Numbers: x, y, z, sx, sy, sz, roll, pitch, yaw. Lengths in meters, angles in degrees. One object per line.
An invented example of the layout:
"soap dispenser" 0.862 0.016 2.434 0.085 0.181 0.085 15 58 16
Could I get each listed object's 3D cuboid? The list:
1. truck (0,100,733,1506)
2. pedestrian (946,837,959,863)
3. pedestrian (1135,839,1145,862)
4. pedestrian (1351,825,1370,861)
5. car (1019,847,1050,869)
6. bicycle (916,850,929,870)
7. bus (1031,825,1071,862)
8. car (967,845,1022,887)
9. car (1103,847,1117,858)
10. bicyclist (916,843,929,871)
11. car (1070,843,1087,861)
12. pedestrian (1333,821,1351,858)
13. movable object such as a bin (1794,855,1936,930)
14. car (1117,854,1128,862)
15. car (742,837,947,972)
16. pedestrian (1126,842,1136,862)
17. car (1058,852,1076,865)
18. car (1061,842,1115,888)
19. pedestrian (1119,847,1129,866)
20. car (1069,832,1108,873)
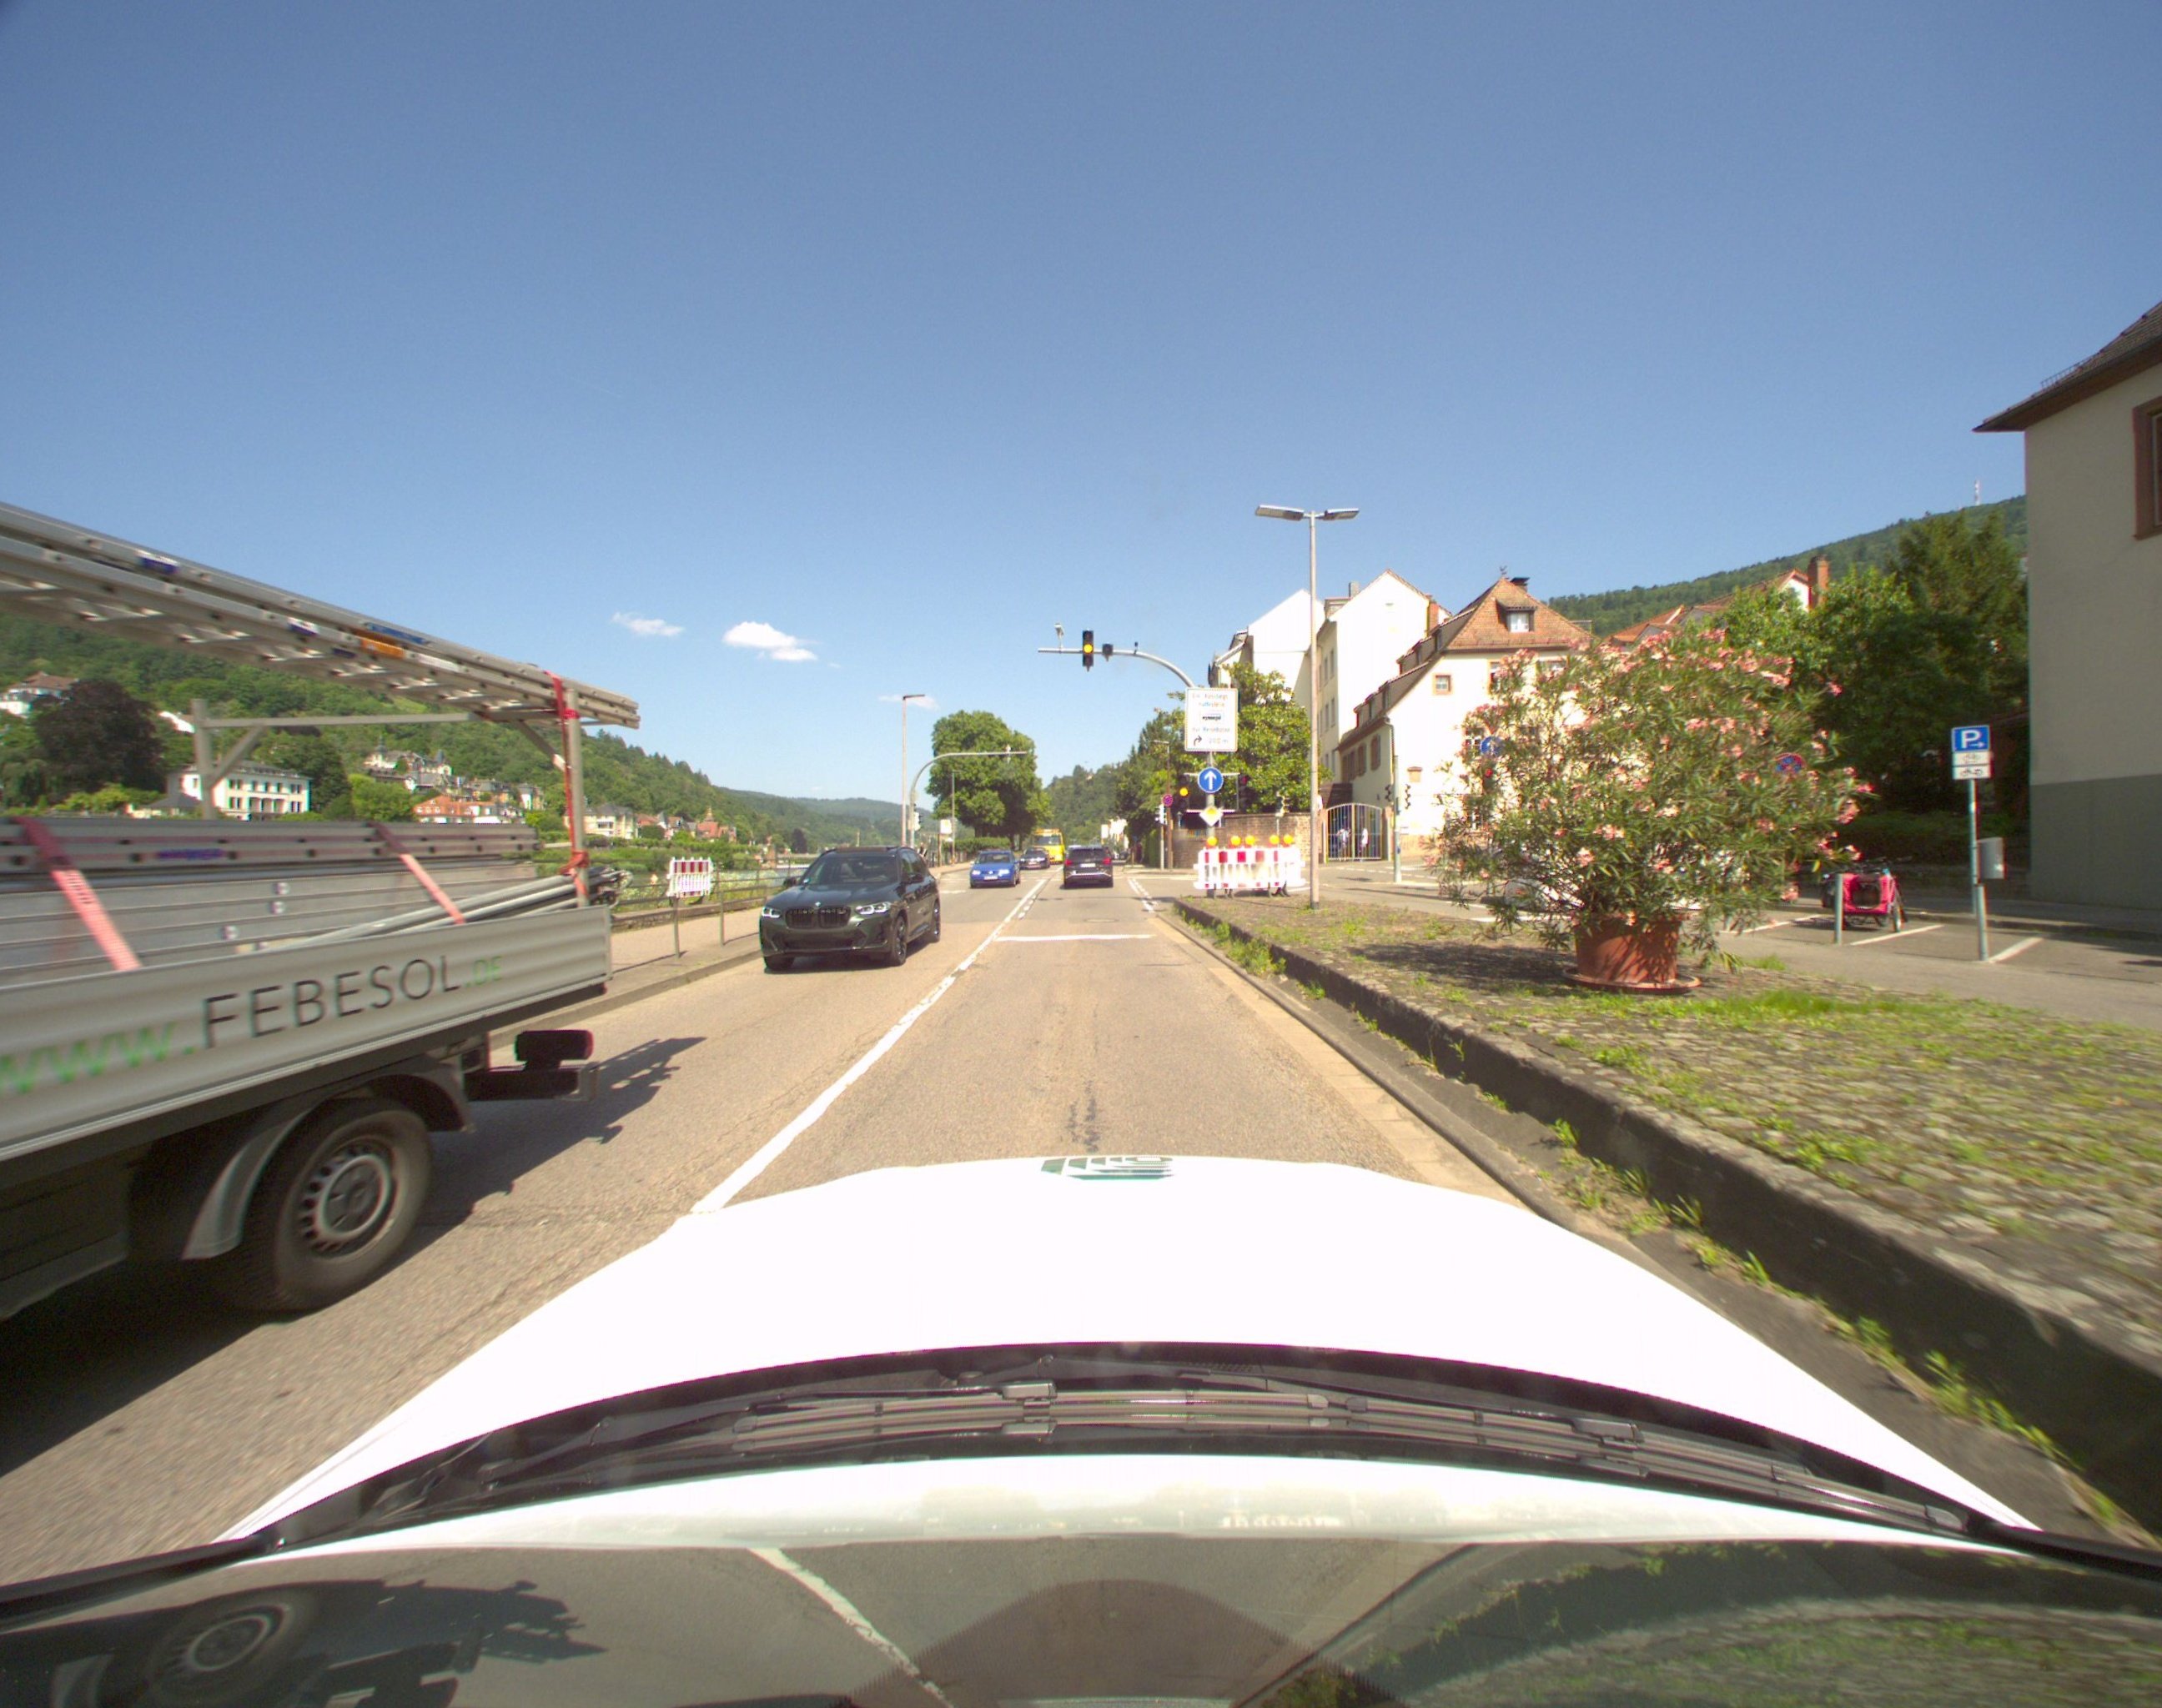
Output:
"truck" -3.681 -0.108 1.708 2.368 3.261 7.612 -3 0 1
"pedestrian" -9.879 -0.309 62.708 0.750 1.918 1.010 -1 -2 2
"pedestrian" 4.481 -0.248 61.624 0.678 1.742 0.913 0 0 2
"pedestrian" 13.474 -0.539 39.204 0.699 1.706 0.730 -2 0 29
"car" -3.082 0.254 54.950 1.803 1.406 4.356 -1 1 0
"bicycle" -9.410 0.355 48.391 0.666 1.113 2.028 -2 0 -8
"bus" -2.463 -0.895 68.948 2.586 2.896 8.454 -1 1 3
"car" -3.393 0.441 32.566 1.724 1.491 4.324 -2 0 0
"car" 4.047 -0.202 112.190 1.787 1.482 4.004 0 0 3
"bicyclist" -9.419 0.177 48.385 0.666 1.632 0.977 -2 0 -8
"car" -0.325 -0.312 115.229 2.088 2.302 5.872 -1 1 2
"pedestrian" 12.340 -0.664 38.488 0.716 1.706 0.712 -2 0 23
"movable object such as a bin" 13.449 0.597 13.934 2.969 1.110 1.244 -1 0 -36
"car" 7.585 0.718 148.685 1.985 1.453 4.011 -1 -2 3
"car" -3.417 0.645 12.737 1.857 1.681 4.453 -2 0 0
"pedestrian" 4.014 -0.159 65.281 0.732 1.634 0.921 -1 0 2
"car" -1.539 0.477 91.300 1.808 1.398 4.349 -2 1 2
"car" 0.267 0.339 30.242 1.850 1.523 4.001 -2 1 1
"pedestrian" 3.753 0.205 70.476 0.725 1.650 0.883 -3 0 4
"car" 0.393 -0.026 43.477 1.987 2.014 3.999 -1 -2 0
